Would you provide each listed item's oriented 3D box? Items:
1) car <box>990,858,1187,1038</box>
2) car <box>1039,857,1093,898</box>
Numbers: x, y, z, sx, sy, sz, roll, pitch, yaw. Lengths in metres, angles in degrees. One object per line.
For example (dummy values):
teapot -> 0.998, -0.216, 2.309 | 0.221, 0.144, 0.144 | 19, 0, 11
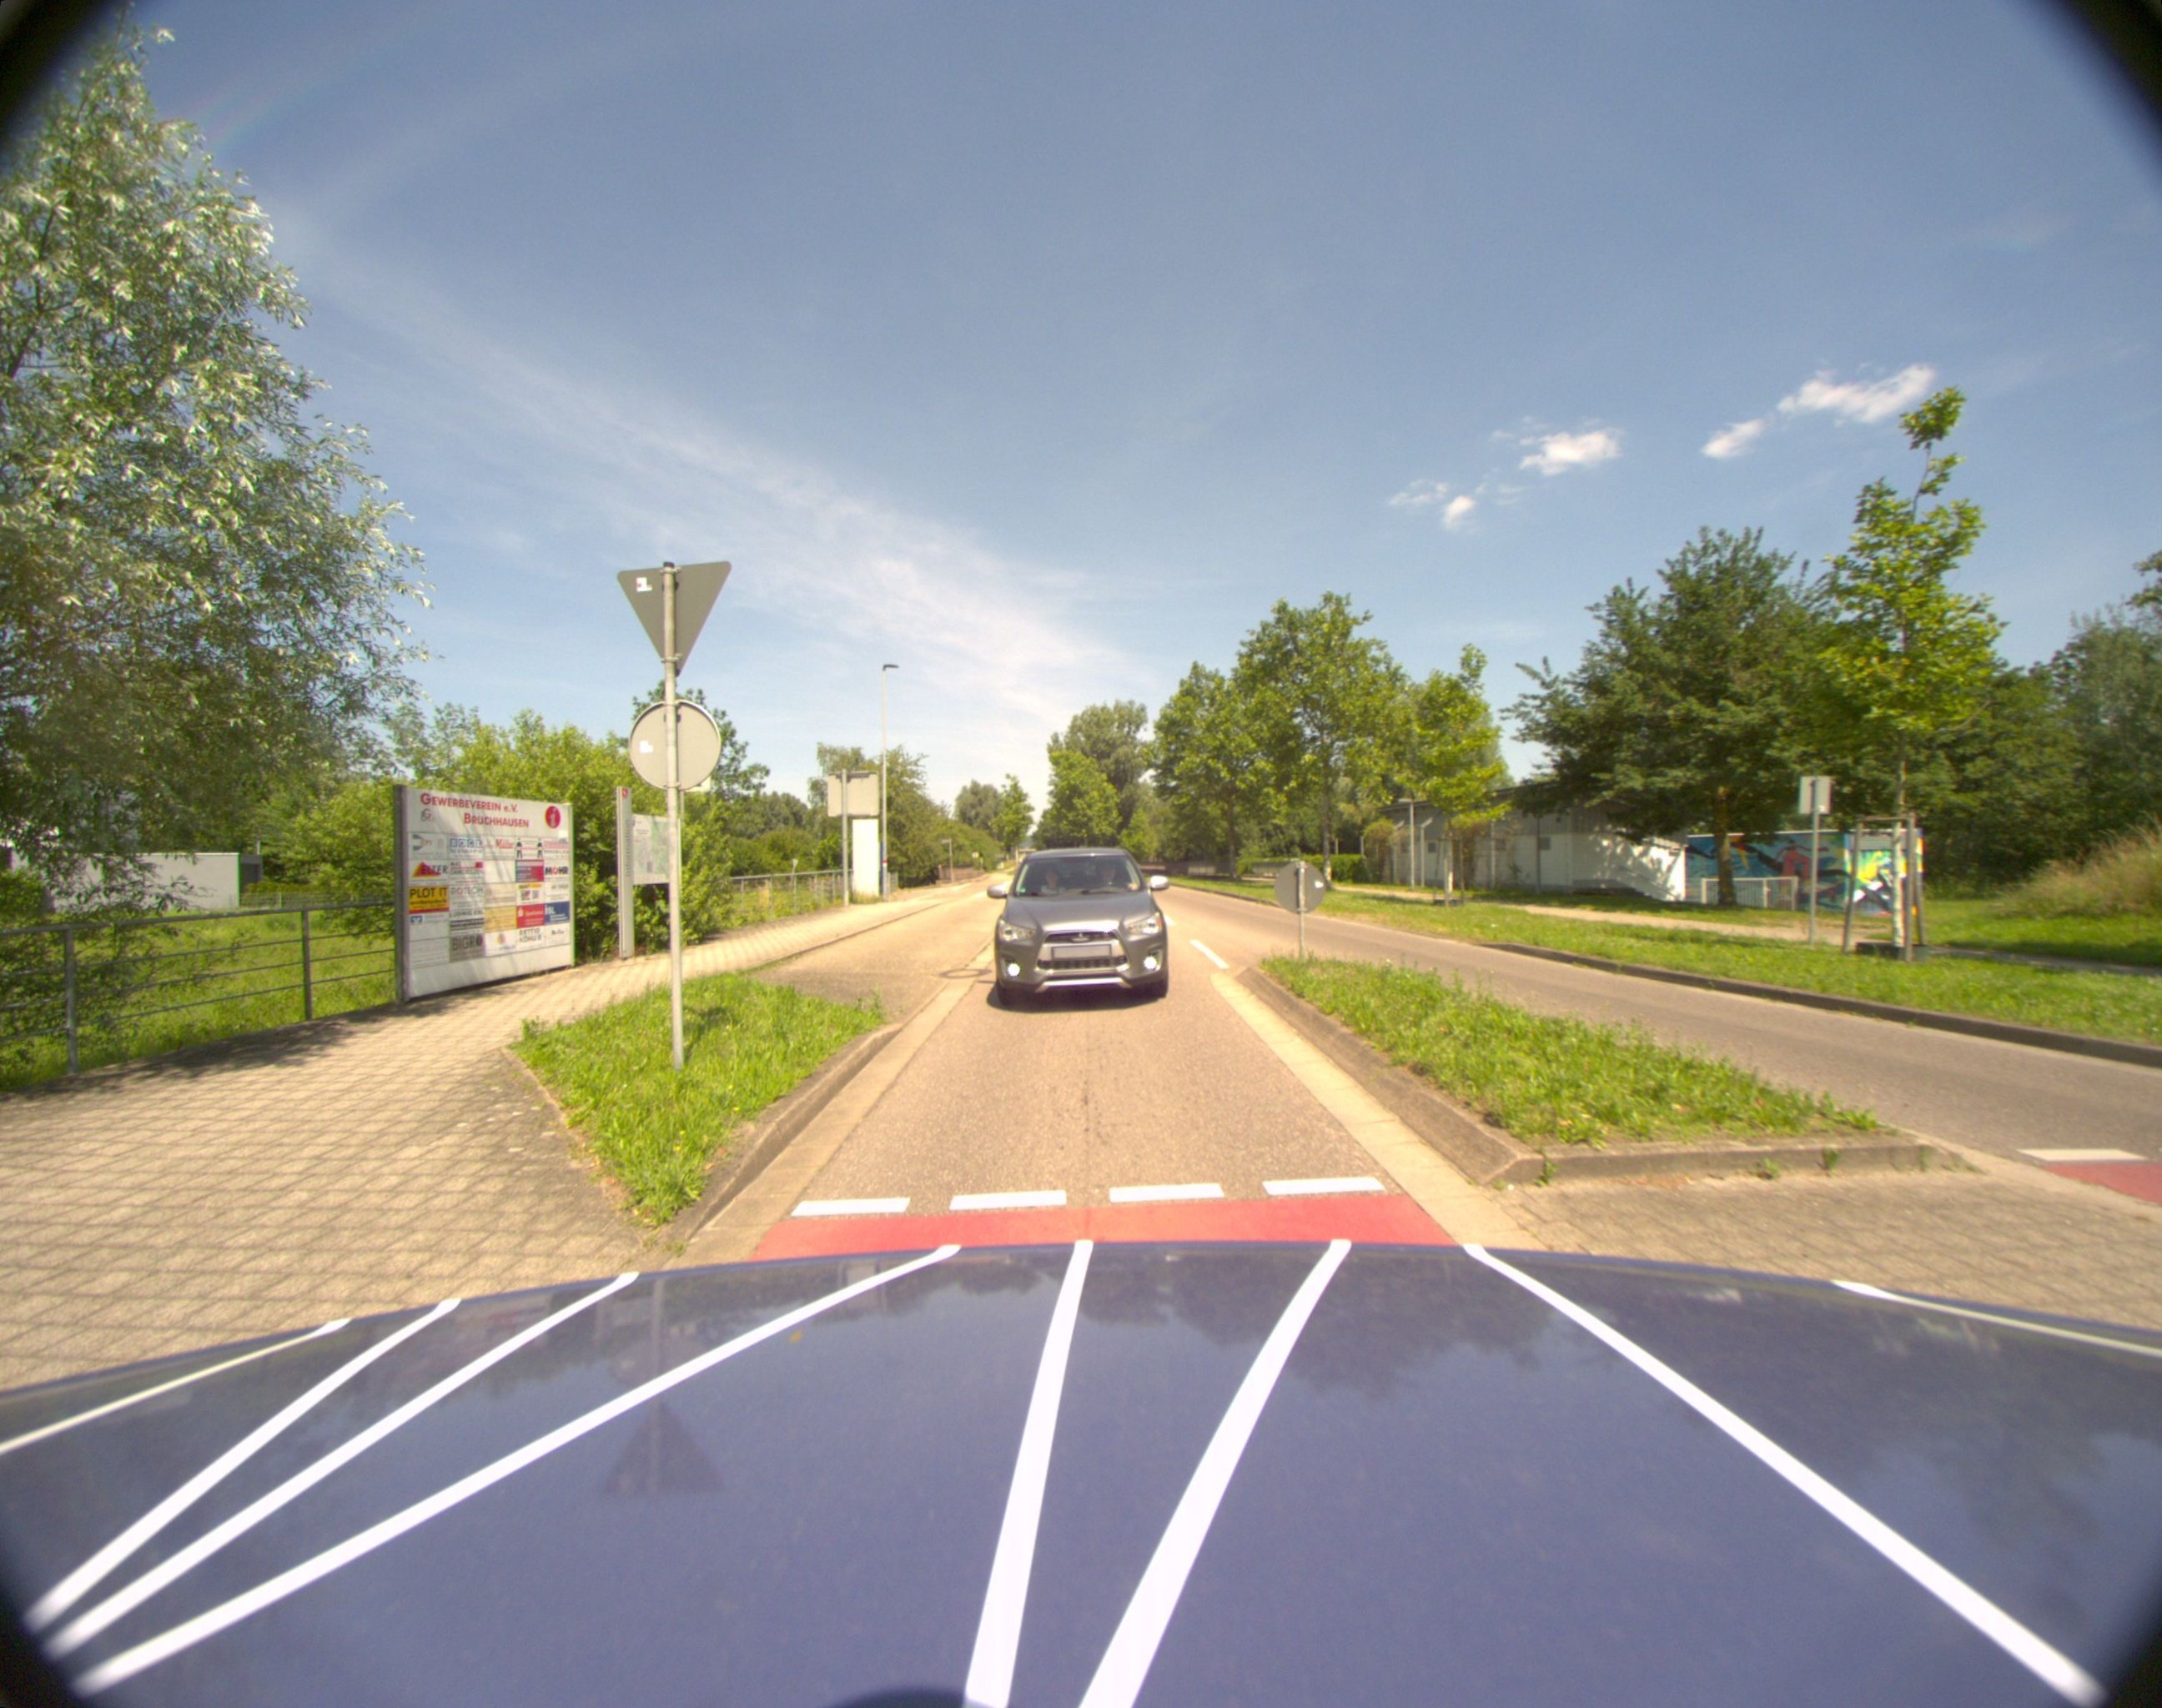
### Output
car -> -0.095, 0.856, 9.106 | 1.750, 1.525, 4.522 | -1, 0, -4
car -> -0.632, 0.858, 29.004 | 1.677, 1.342, 3.829 | -2, 1, -6
